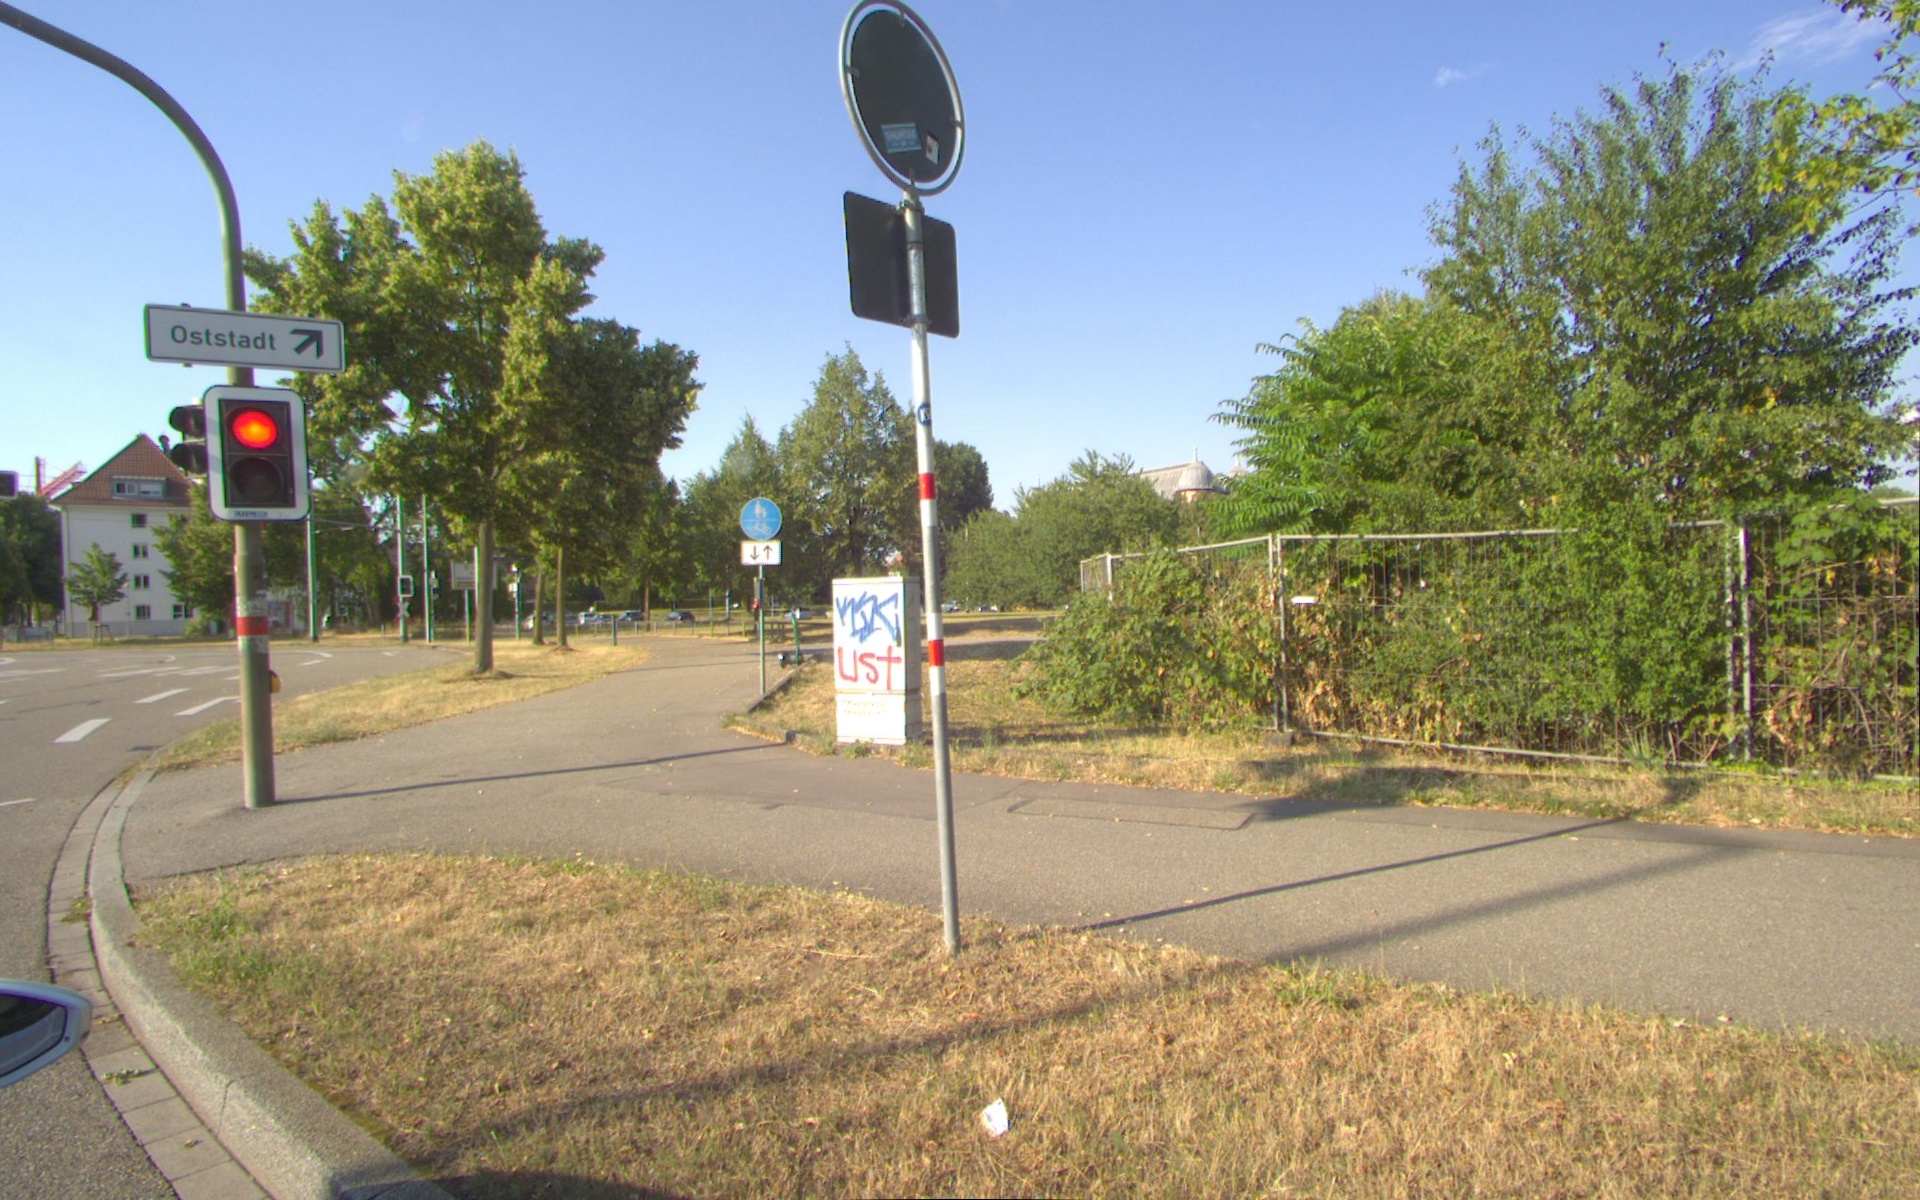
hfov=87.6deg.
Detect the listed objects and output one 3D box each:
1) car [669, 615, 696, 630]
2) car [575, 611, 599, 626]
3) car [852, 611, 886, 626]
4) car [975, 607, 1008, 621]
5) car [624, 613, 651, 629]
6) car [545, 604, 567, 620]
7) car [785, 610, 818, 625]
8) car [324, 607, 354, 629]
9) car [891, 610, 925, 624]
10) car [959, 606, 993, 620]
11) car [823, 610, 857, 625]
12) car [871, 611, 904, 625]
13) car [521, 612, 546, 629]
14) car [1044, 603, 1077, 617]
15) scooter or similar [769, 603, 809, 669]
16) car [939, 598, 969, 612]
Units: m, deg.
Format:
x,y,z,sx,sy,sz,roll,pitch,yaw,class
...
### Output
x,y,z,sx,sy,sz,roll,pitch,yaw,class
-25.708,2.052,92.717,1.583,1.327,3.950,-1,-1,-29,car
-37.121,1.811,99.621,1.583,1.420,3.950,-1,0,-29,car
-9.496,1.916,104.231,1.802,1.421,3.976,-3,0,-33,car
3.577,1.577,113.387,1.803,1.421,3.976,-1,-1,-33,car
-29.148,1.888,90.541,1.583,1.420,3.950,-1,0,-29,car
-39.466,1.175,97.785,1.583,1.420,3.950,-1,0,-29,car
-15.866,1.756,100.028,1.803,1.421,3.976,-1,-1,-33,car
-48.285,1.381,77.897,1.751,1.639,3.950,-1,0,-29,car
-5.553,1.803,106.756,1.803,1.421,3.976,-1,-1,-33,car
1.785,1.455,111.332,1.803,1.421,3.976,-1,-1,-33,car
-12.361,1.793,103.058,1.803,1.421,3.976,-1,-1,-33,car
-7.632,1.915,105.455,1.803,1.421,3.976,-1,-1,-33,car
-36.793,1.749,86.416,1.583,1.420,3.950,-1,0,-29,car
11.867,1.184,118.493,1.803,1.589,3.976,-1,0,-33,car
-3.285,0.675,19.282,0.336,1.175,1.169,-4,2,8,scooter or similar
-0.803,0.650,123.503,1.803,1.694,3.976,-1,0,-33,car
